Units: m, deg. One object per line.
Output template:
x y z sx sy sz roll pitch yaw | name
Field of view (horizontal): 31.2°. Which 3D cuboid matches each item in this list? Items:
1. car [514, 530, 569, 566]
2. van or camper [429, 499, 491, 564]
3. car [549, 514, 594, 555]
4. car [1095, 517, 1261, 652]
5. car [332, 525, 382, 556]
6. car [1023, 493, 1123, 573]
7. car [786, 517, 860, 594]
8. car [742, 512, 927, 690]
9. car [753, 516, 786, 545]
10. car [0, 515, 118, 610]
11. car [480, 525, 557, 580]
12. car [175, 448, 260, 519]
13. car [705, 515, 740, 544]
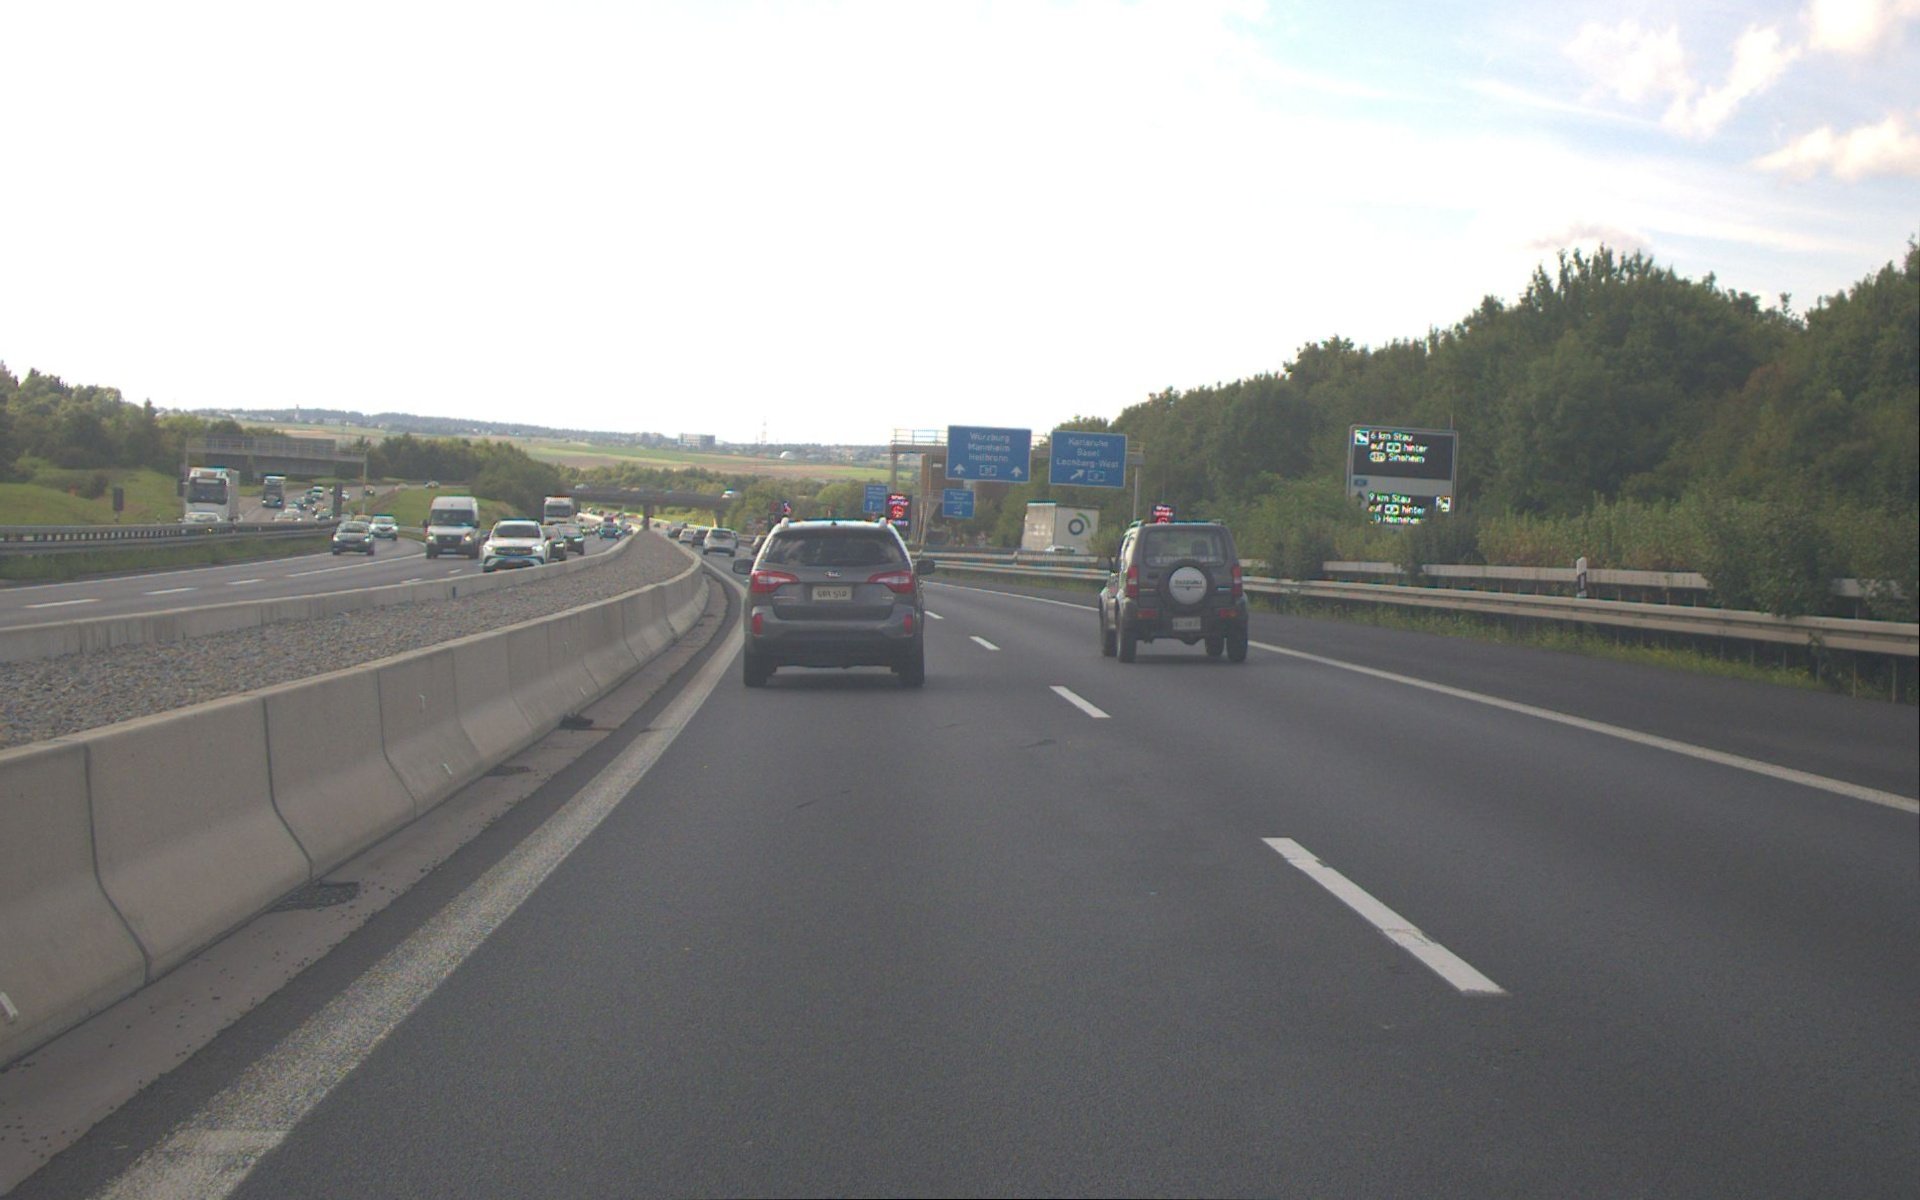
-17.307 -2.167 142.335 1.925 1.430 4.778 1 1 -4 | car
-21.009 -2.873 144.599 1.986 2.615 6.864 1 1 -4 | van or camper
-19.565 -3.306 173.306 1.993 2.007 4.273 1 1 -4 | car
2.690 -0.227 43.241 1.587 1.591 4.096 1 1 -3 | car
-26.392 -2.616 150.529 1.626 1.289 4.756 1 1 -4 | car
6.569 -3.867 201.993 4.728 4.251 11.405 1 -1 -3 | car
-3.920 -1.286 98.853 2.030 2.144 4.000 1 1 -1 | car
-1.342 -0.003 36.766 1.817 1.730 5.187 1 0 -2 | car
-13.590 -4.960 244.935 1.993 1.922 4.001 1 -1 -8 | car
-16.920 -0.722 63.932 1.725 1.694 4.153 1 1 -4 | car
-13.336 -1.441 104.126 1.842 1.605 5.136 1 1 -2 | car
-45.706 -7.109 211.973 3.816 4.066 14.833 1 1 -7 | car
-14.741 -4.363 213.179 1.993 1.678 4.000 1 -1 -5 | car
